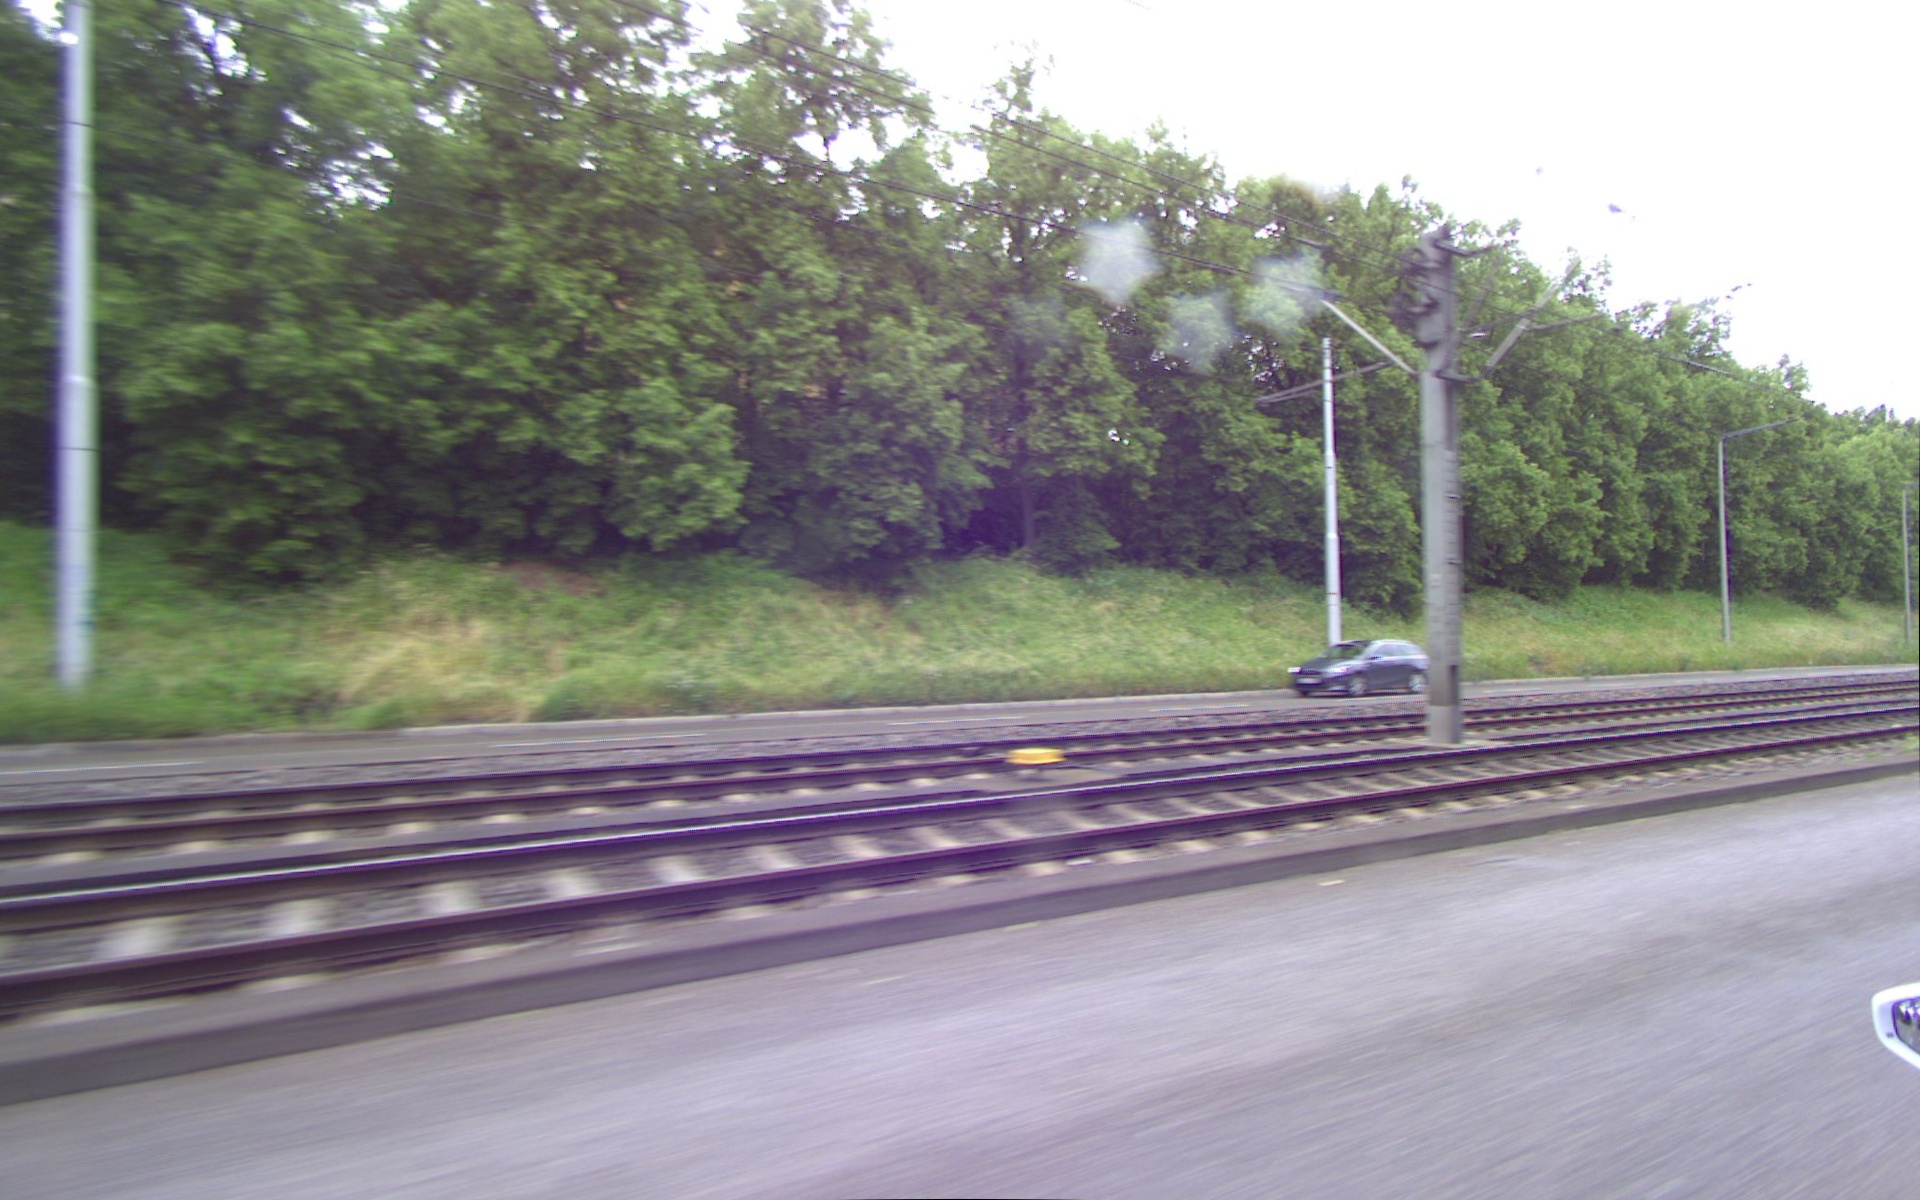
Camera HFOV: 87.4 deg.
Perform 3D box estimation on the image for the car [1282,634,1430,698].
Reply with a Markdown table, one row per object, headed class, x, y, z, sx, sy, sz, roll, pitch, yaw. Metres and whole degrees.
| class | x | y | z | sx | sy | sz | roll | pitch | yaw |
| --- | --- | --- | --- | --- | --- | --- | --- | --- | --- |
| car | 10.576 | 1.730 | 26.757 | 3.921 | 1.572 | 1.773 | 2 | -4 | -35 |
